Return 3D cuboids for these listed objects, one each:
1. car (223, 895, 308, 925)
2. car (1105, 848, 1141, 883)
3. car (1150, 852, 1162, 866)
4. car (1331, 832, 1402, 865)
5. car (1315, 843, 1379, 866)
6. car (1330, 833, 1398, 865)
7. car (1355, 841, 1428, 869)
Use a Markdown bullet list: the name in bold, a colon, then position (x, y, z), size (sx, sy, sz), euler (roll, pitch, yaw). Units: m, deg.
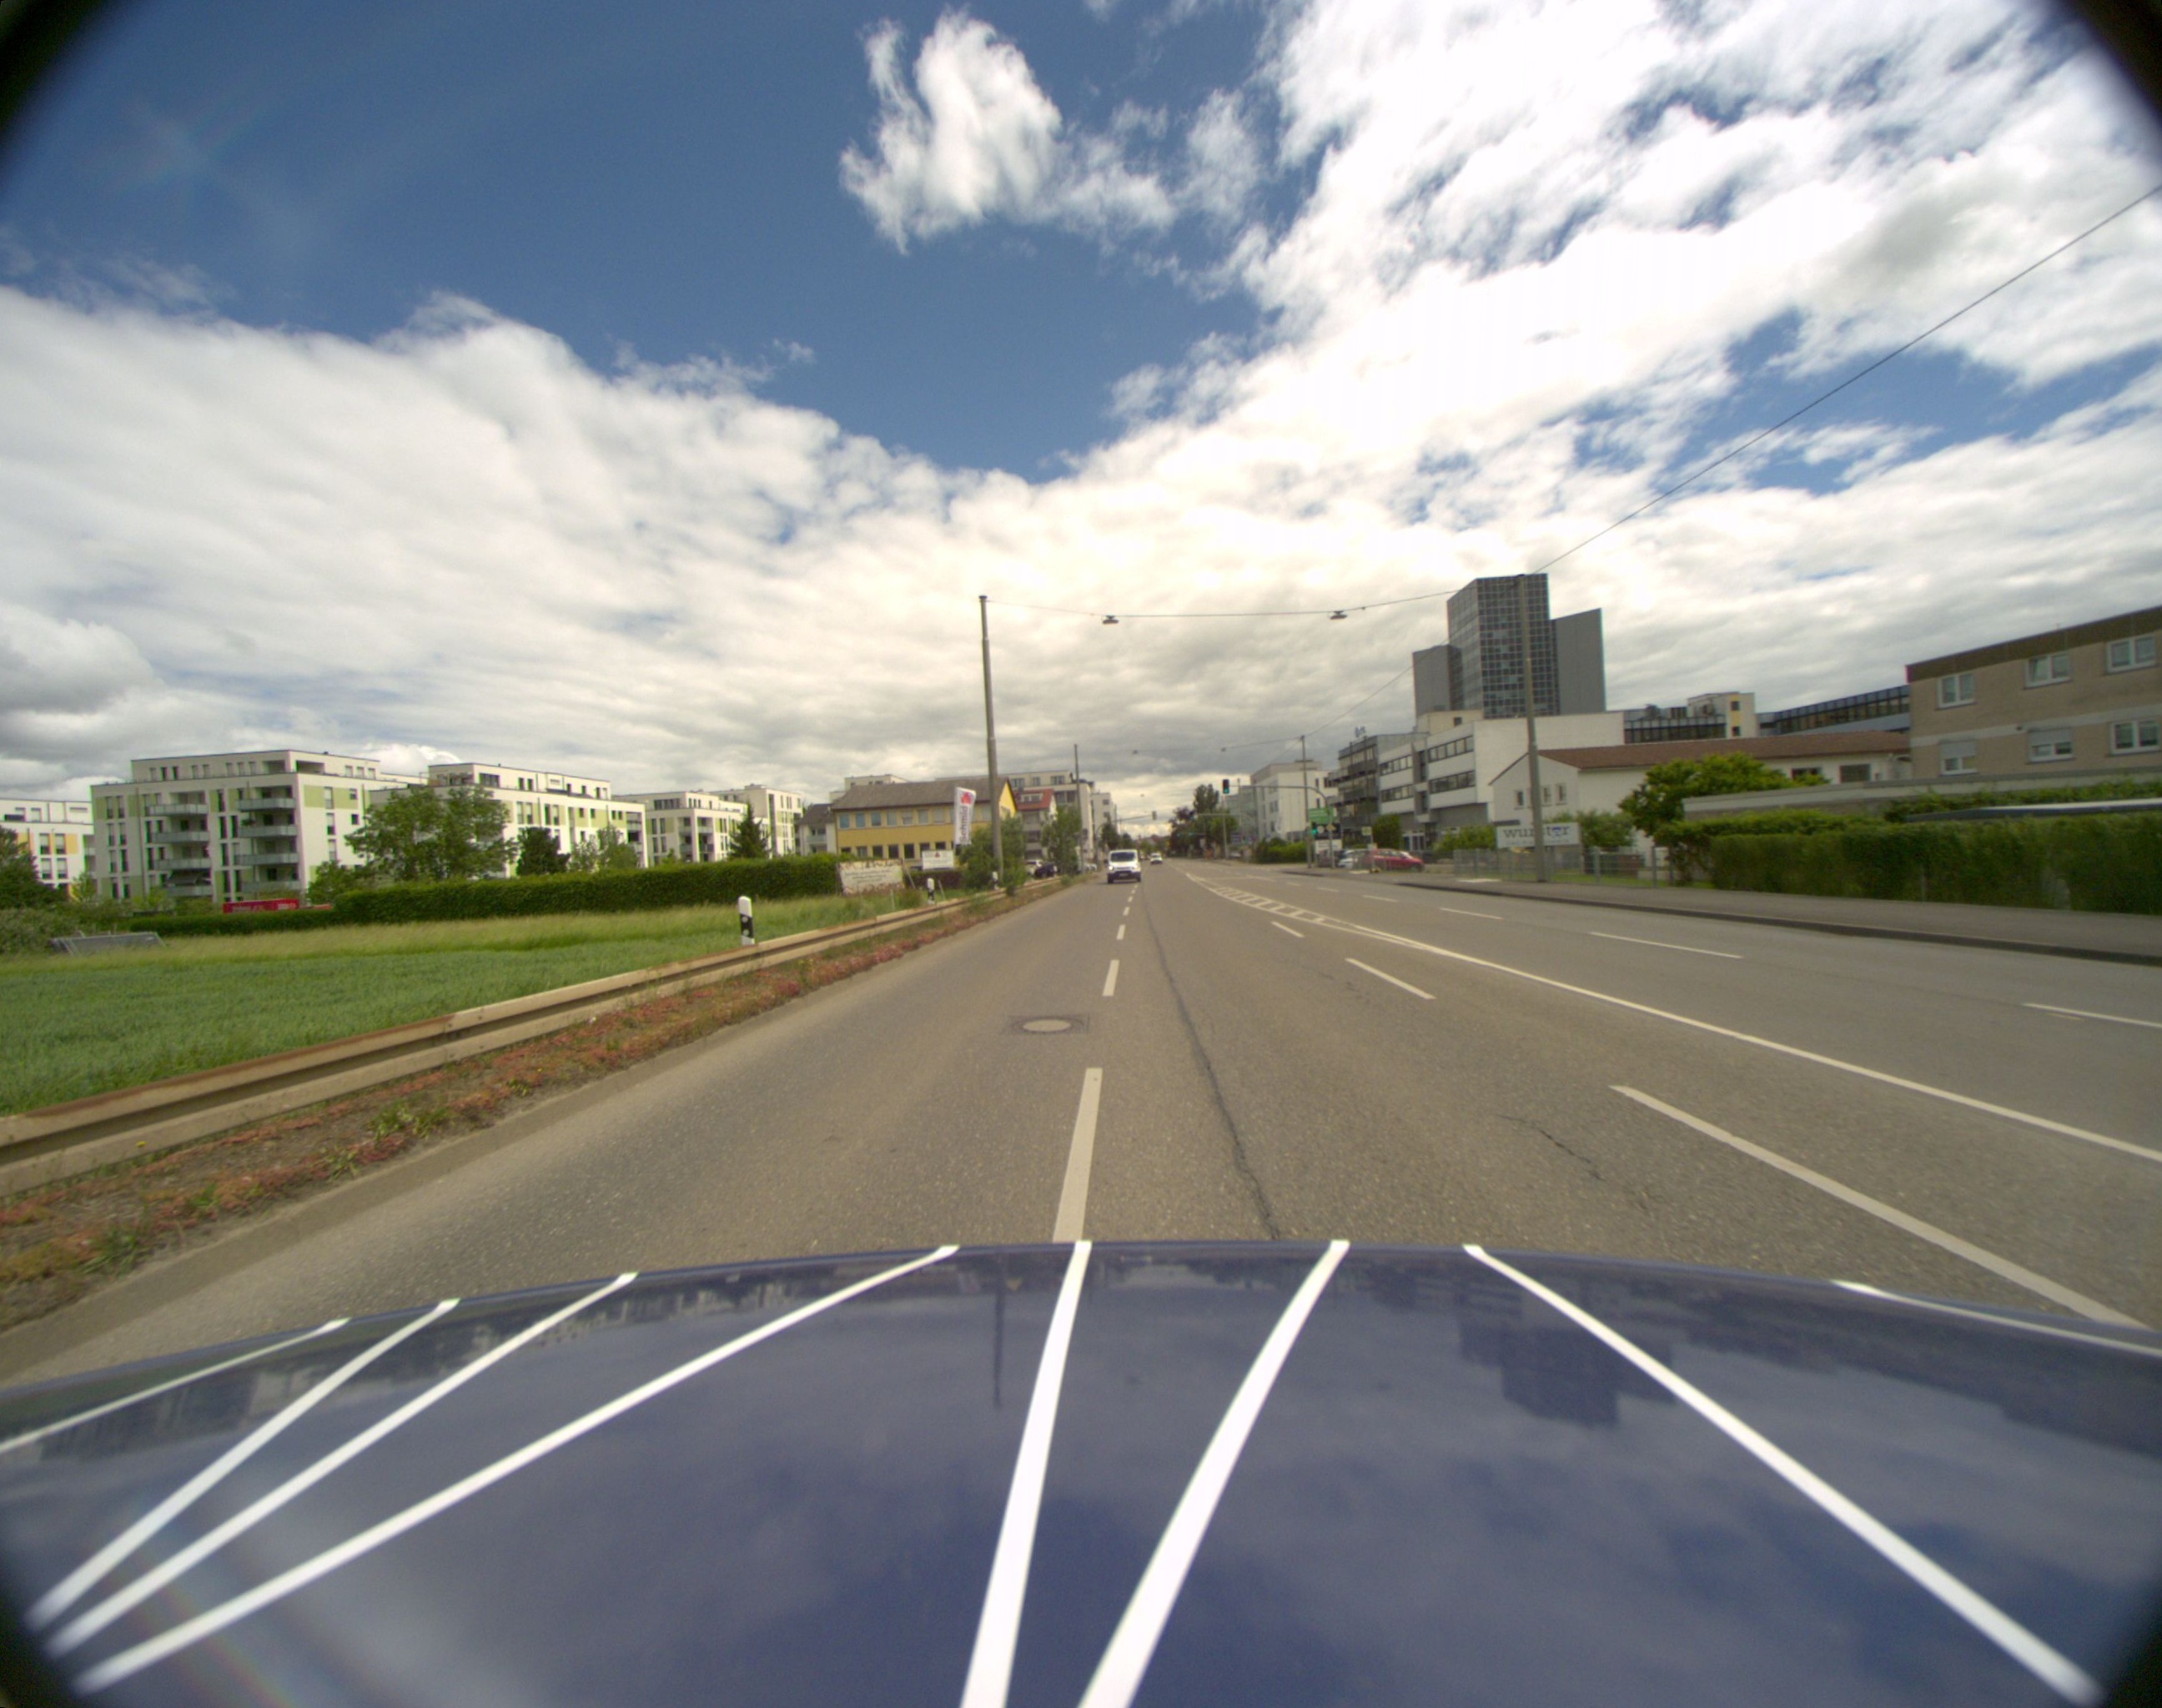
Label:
- **car**: position (-64.897, 4.478, 60.511), size (4.437, 2.002, 2.000), euler (-3, 1, -1)
- **car**: position (2.513, 0.639, 47.057), size (1.998, 1.907, 5.882), euler (-3, 1, 2)
- **car**: position (12.021, 0.787, 121.335), size (1.799, 2.002, 4.001), euler (-3, 1, 6)
- **car**: position (19.113, -0.394, 51.067), size (3.996, 2.002, 1.920), euler (-3, 1, 2)
- **car**: position (19.590, 0.049, 56.028), size (3.997, 1.324, 1.824), euler (-5, -1, 2)
- **car**: position (19.841, -0.354, 53.418), size (3.996, 2.002, 1.904), euler (-3, 1, 2)
- **car**: position (19.731, 0.047, 48.394), size (3.801, 1.601, 1.836), euler (-2, 0, -1)
